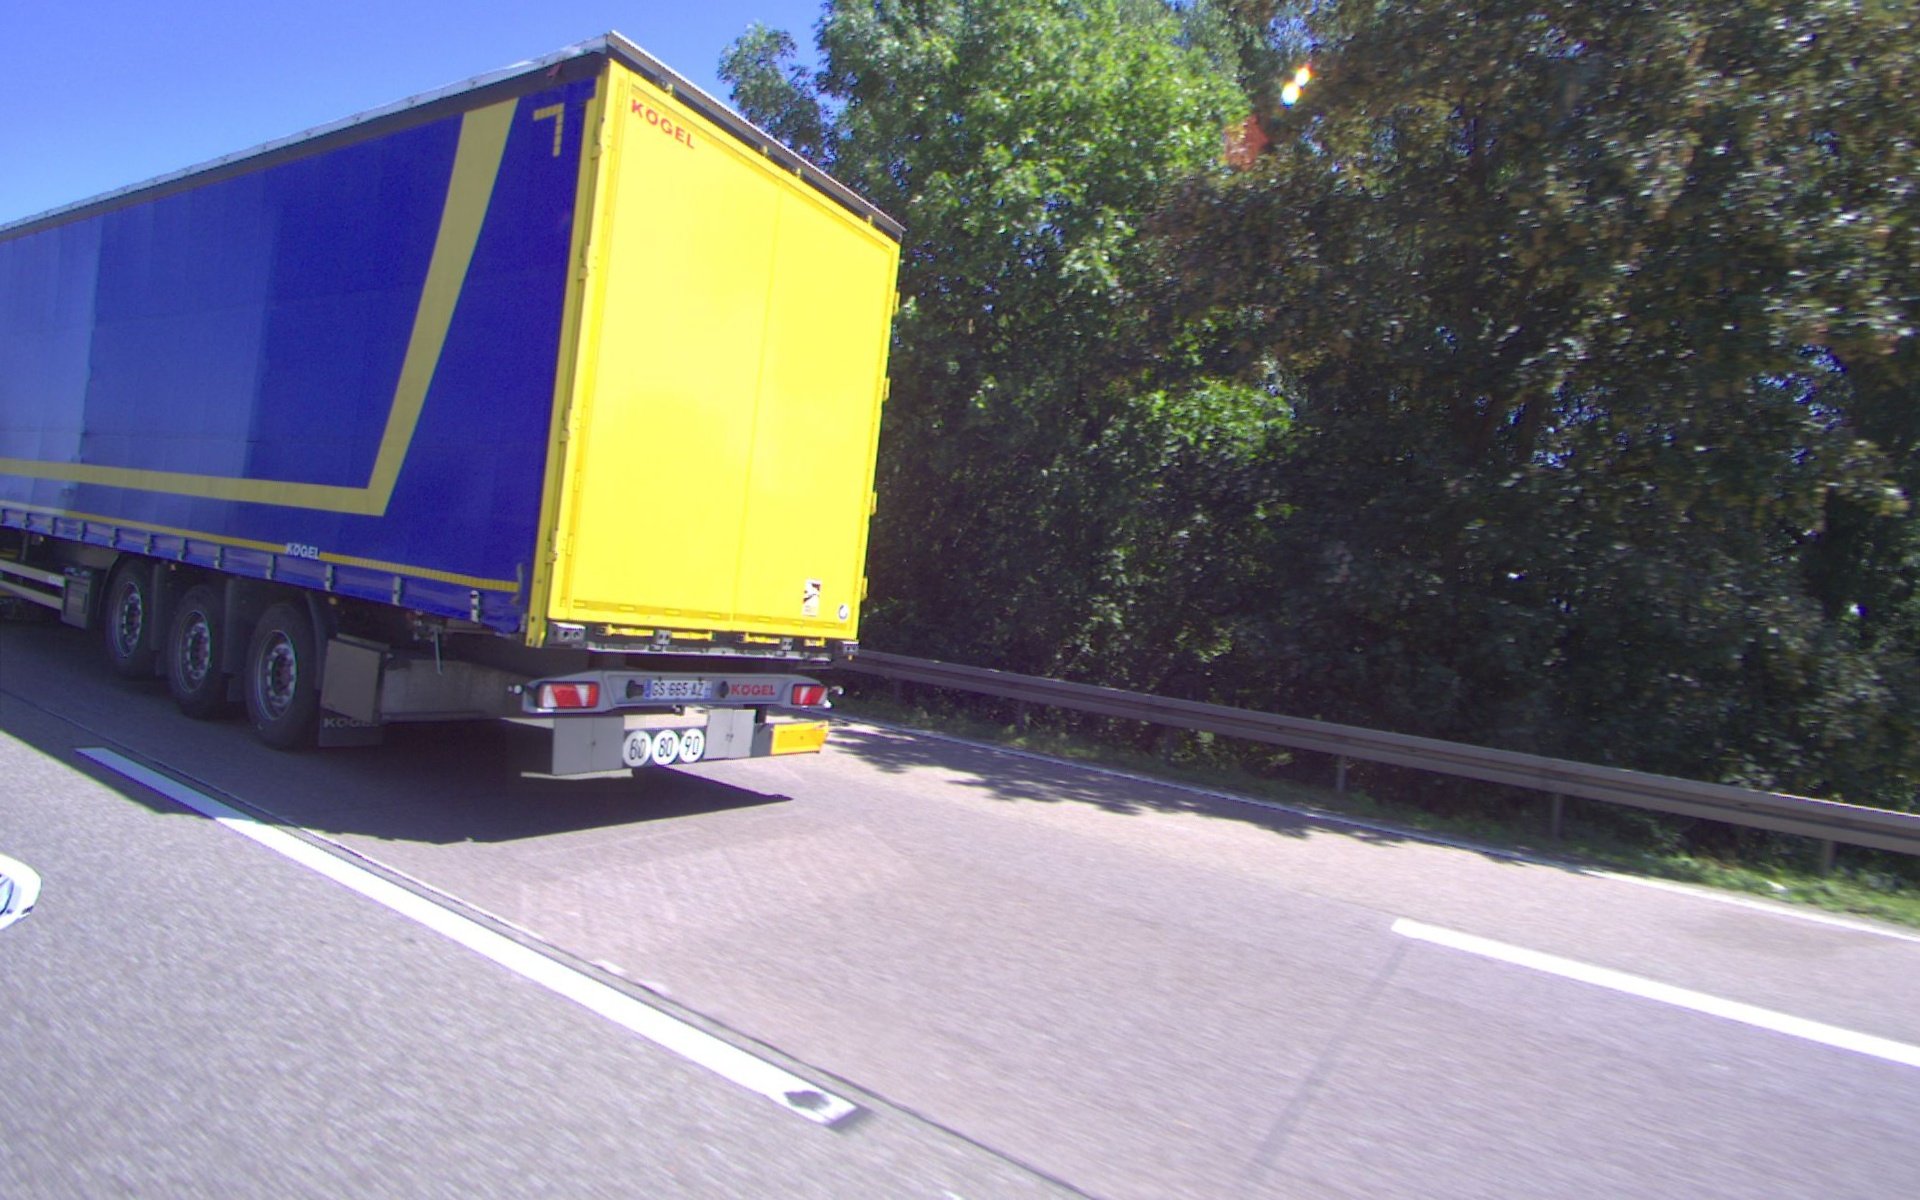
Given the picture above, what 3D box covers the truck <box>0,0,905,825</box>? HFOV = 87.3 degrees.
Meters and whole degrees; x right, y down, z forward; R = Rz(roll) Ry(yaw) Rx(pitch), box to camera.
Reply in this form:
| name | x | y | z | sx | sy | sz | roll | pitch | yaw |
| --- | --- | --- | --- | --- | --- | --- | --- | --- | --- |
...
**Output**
| name | x | y | z | sx | sy | sz | roll | pitch | yaw |
| --- | --- | --- | --- | --- | --- | --- | --- | --- | --- |
| truck | -8.276 | -1.666 | 10.523 | 16.516 | 4.312 | 2.846 | 6 | 1 | 32 |
